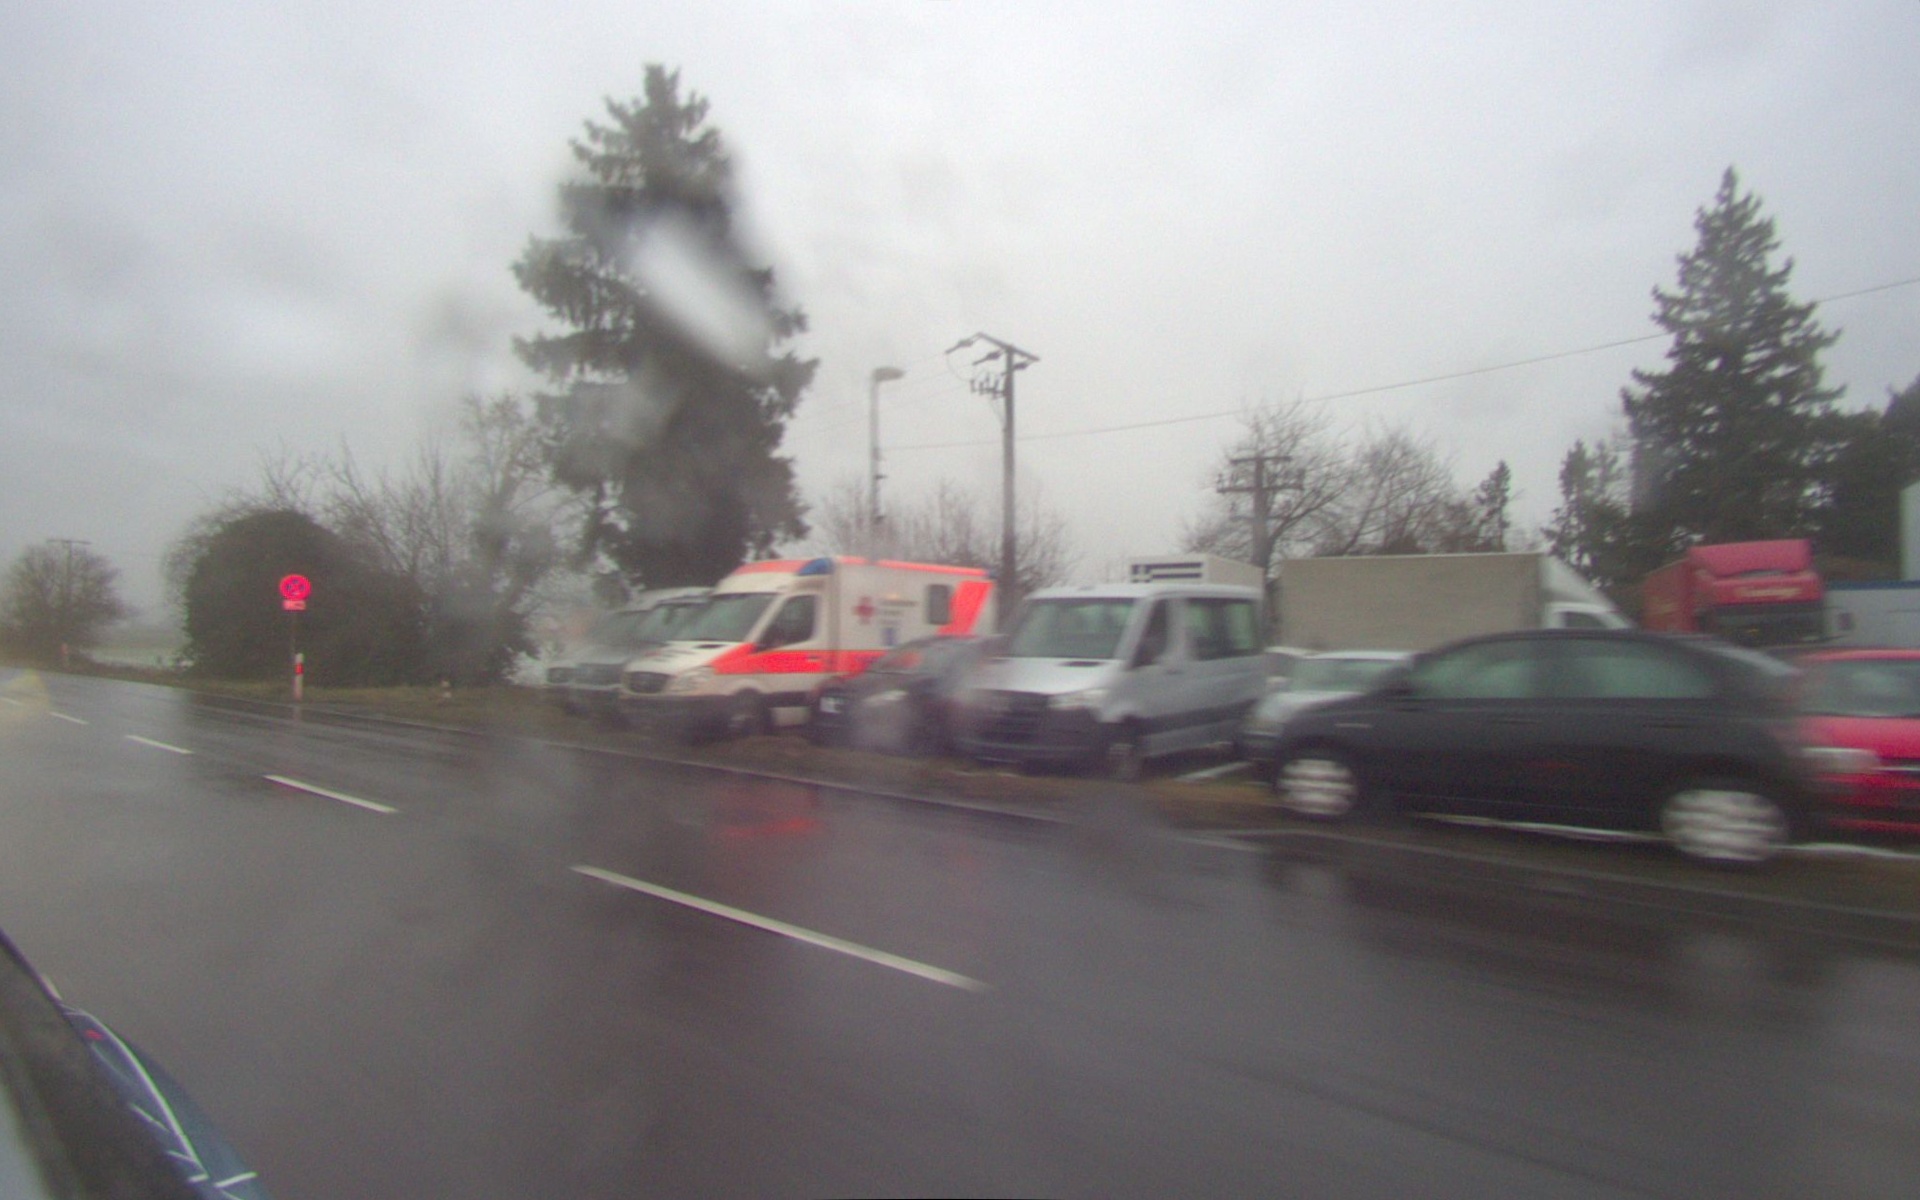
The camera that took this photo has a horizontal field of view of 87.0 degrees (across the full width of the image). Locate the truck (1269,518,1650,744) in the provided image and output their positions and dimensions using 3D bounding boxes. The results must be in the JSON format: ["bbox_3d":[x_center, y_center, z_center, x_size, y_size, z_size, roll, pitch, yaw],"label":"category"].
[{"bbox_3d":[8.771,0.596,18.158,5.841,3.481,2.012,-2,-4,37],"label":"truck"}]

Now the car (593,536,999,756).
[{"bbox_3d":[-2.128,0.701,15.225,2.174,2.652,6.093,-2,-4,40],"label":"car"}]

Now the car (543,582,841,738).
[{"bbox_3d":[-4.396,1.001,17.294,1.986,2.290,4.619,-2,-4,40],"label":"car"}]

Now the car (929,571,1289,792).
[{"bbox_3d":[2.078,0.940,12.573,2.057,2.167,5.093,-2,-4,40],"label":"car"}]

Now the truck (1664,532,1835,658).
[{"bbox_3d":[18.732,-0.078,24.296,2.222,2.717,4.683,-1,-1,26],"label":"truck"}]

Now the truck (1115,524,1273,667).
[{"bbox_3d":[8.293,-0.168,34.899,2.994,4.293,8.627,-1,0,29],"label":"truck"}]

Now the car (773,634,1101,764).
[{"bbox_3d":[-0.122,1.271,14.071,1.953,1.494,4.700,-2,-4,40],"label":"car"}]

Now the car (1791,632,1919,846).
[{"bbox_3d":[7.896,1.014,8.280,1.496,1.503,3.198,-2,-3,37],"label":"car"}]

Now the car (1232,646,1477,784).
[{"bbox_3d":[4.998,1.288,12.510,1.838,1.394,3.951,-3,-4,36],"label":"car"}]

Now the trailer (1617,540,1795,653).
[{"bbox_3d":[21.147,-0.047,29.319,2.208,2.694,10.414,-1,-1,26],"label":"trailer"}]

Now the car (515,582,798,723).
[{"bbox_3d":[-5.777,1.023,19.903,2.078,2.408,5.053,-2,-4,38],"label":"car"}]

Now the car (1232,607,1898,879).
[{"bbox_3d":[4.059,0.864,7.223,3.740,1.431,1.633,-4,-4,41],"label":"car"}]
